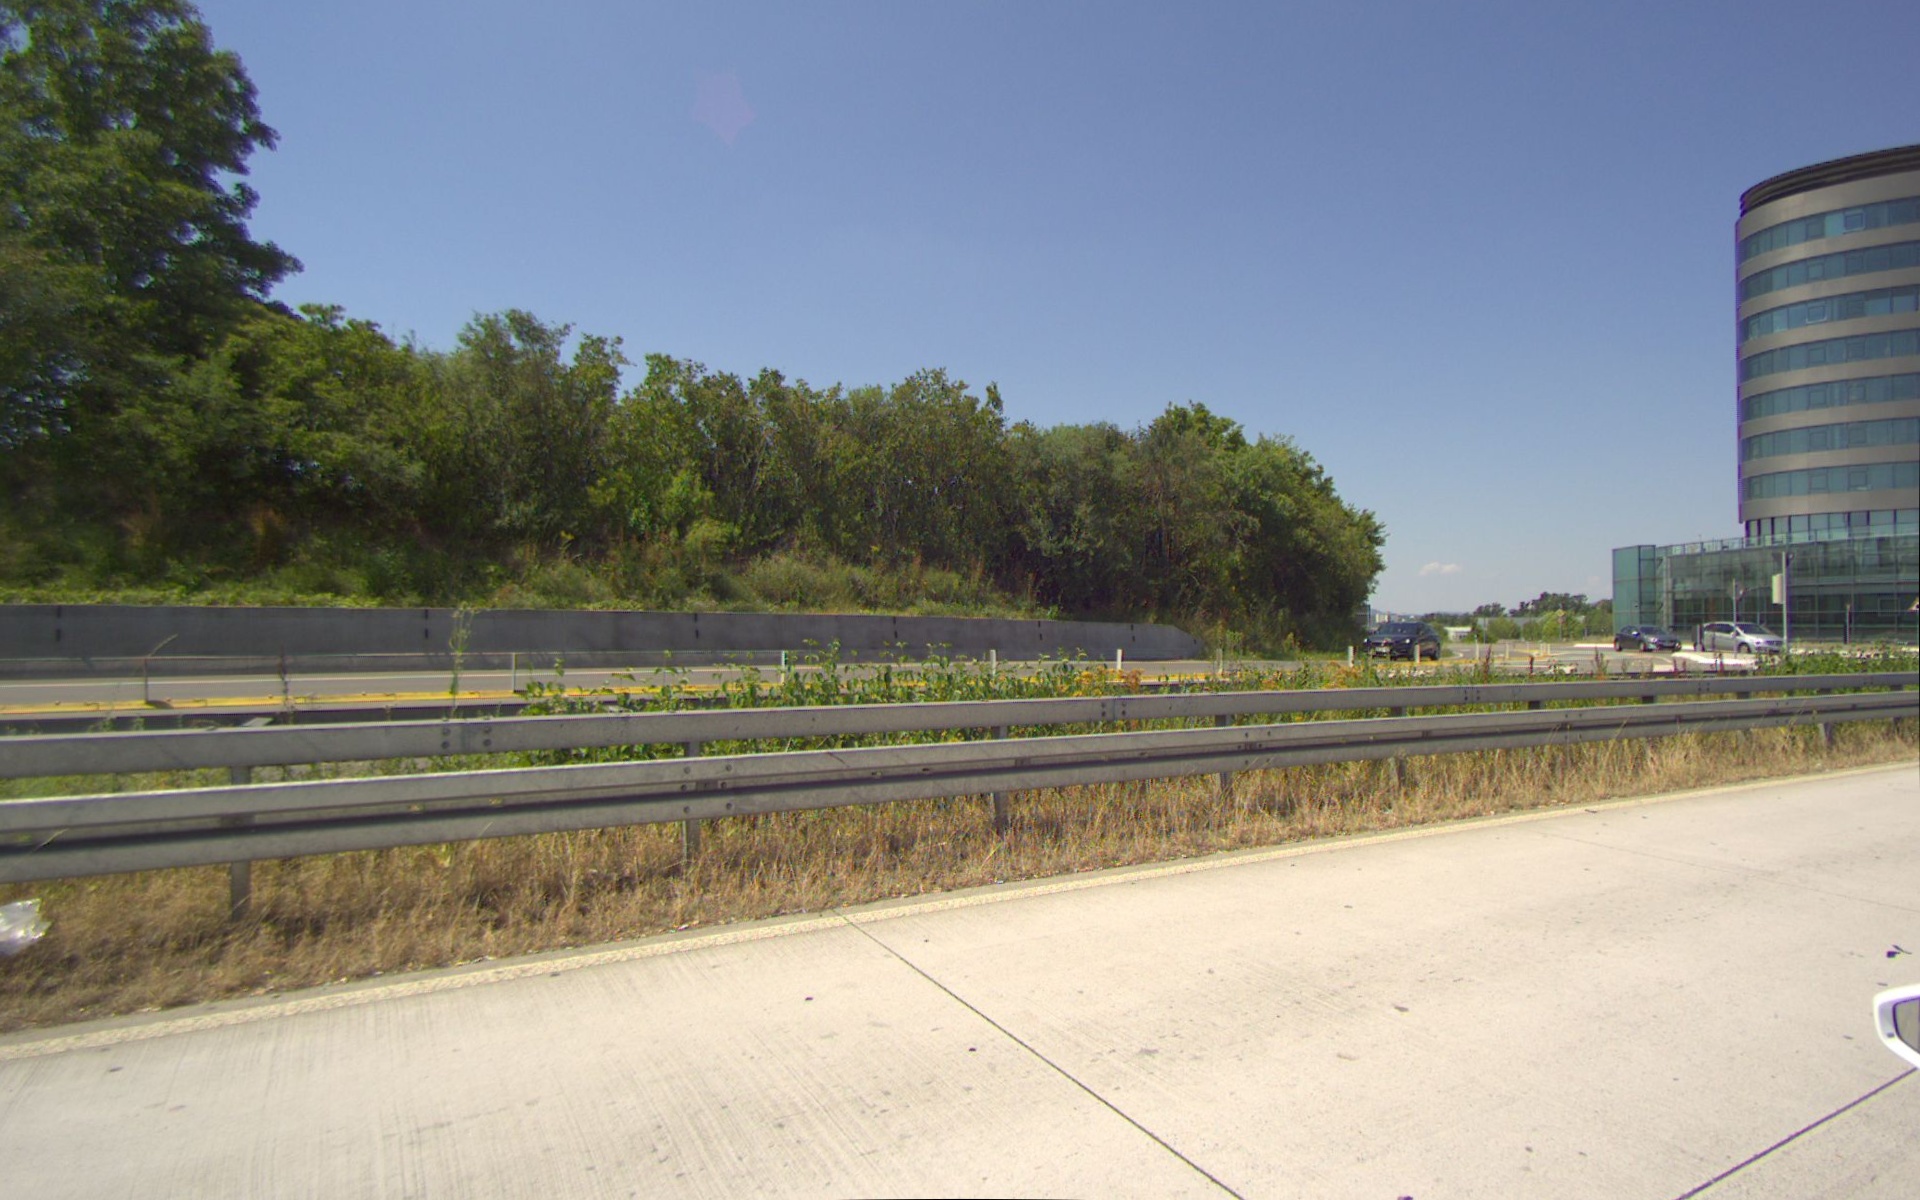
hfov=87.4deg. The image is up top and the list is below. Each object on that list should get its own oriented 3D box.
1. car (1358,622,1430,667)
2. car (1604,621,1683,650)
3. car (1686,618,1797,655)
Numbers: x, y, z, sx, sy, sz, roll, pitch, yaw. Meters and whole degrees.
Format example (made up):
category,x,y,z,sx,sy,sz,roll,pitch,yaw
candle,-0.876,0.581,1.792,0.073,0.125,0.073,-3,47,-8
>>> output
category,x,y,z,sx,sy,sz,roll,pitch,yaw
car,15.849,1.575,36.562,1.687,1.504,4.283,2,0,33
car,37.069,1.951,54.604,1.663,1.475,4.333,2,-2,6
car,36.367,1.702,46.873,1.742,1.616,4.329,2,-2,-2
